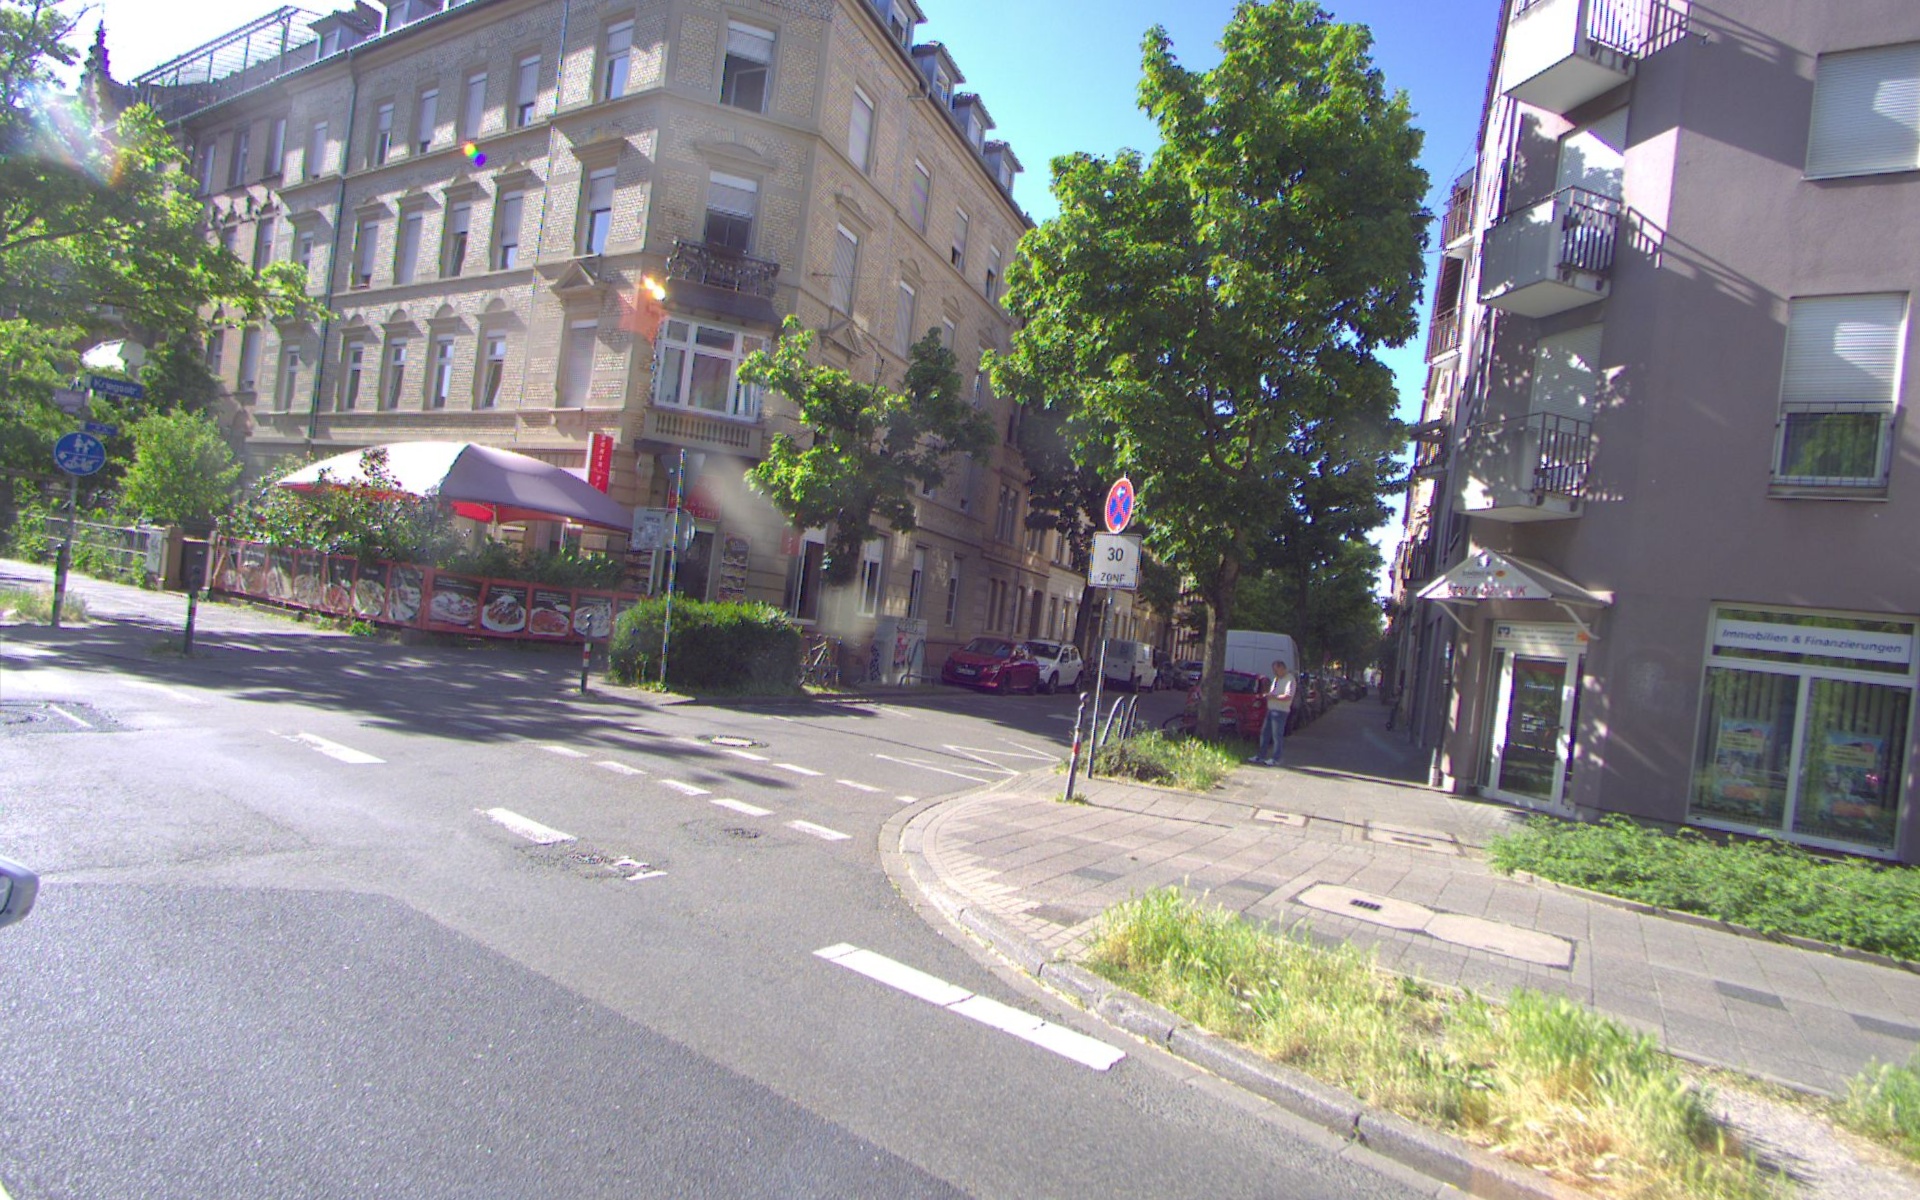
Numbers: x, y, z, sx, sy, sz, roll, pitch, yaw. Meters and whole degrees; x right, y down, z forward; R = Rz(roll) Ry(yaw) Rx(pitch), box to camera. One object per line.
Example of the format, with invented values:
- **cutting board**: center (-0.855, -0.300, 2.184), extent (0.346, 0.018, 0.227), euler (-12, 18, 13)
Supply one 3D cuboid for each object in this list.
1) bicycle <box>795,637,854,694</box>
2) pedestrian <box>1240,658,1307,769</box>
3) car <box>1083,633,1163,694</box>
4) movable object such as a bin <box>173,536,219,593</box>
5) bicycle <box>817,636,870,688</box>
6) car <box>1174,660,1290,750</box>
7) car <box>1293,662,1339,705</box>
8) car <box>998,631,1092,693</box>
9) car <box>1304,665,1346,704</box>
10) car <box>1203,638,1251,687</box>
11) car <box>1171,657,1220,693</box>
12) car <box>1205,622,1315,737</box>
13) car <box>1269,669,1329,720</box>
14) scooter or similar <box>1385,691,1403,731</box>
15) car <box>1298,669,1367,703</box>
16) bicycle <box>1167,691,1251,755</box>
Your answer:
- **bicycle**: center (-2.497, 1.222, 18.680), extent (0.386, 0.985, 1.313), euler (7, -1, 22)
- **pedestrian**: center (4.799, 1.729, 15.424), extent (0.526, 1.596, 0.628), euler (6, 0, -33)
- **car**: center (6.589, 2.584, 40.312), extent (1.961, 2.052, 4.305), euler (7, -2, 23)
- **movable object such as a bin**: center (-16.730, -0.768, 22.037), extent (0.543, 1.147, 0.569), euler (7, 0, 33)
- **bicycle**: center (-2.327, 1.251, 20.224), extent (0.386, 0.985, 1.313), euler (7, -1, 22)
- **car**: center (5.782, 2.133, 21.050), extent (1.662, 1.480, 3.999), euler (7, -1, 23)
- **car**: center (18.265, 4.270, 51.491), extent (1.745, 1.903, 4.000), euler (7, -2, 24)
- **car**: center (2.723, 1.986, 31.319), extent (1.664, 1.613, 4.003), euler (7, -2, 22)
- **car**: center (20.750, 4.761, 57.120), extent (1.745, 1.904, 3.999), euler (7, -1, 24)
- **car**: center (17.284, 4.083, 64.994), extent (2.234, 2.691, 4.327), euler (7, -3, 22)
- **car**: center (11.562, 3.711, 49.227), extent (1.664, 1.489, 4.003), euler (7, -2, 22)
- **car**: center (8.043, 2.062, 26.603), extent (2.179, 2.480, 5.096), euler (7, -1, 21)
- **car**: center (12.663, 3.473, 37.434), extent (1.664, 1.575, 3.821), euler (7, -1, 23)
- **scooter or similar**: center (13.632, 3.470, 31.627), extent (0.413, 1.161, 1.374), euler (5, -1, 23)
- **car**: center (24.161, 5.557, 65.222), extent (3.927, 1.603, 1.820), euler (7, -3, 23)
- **bicycle**: center (3.967, 1.959, 16.056), extent (1.181, 0.832, 0.294), euler (7, 0, 23)
